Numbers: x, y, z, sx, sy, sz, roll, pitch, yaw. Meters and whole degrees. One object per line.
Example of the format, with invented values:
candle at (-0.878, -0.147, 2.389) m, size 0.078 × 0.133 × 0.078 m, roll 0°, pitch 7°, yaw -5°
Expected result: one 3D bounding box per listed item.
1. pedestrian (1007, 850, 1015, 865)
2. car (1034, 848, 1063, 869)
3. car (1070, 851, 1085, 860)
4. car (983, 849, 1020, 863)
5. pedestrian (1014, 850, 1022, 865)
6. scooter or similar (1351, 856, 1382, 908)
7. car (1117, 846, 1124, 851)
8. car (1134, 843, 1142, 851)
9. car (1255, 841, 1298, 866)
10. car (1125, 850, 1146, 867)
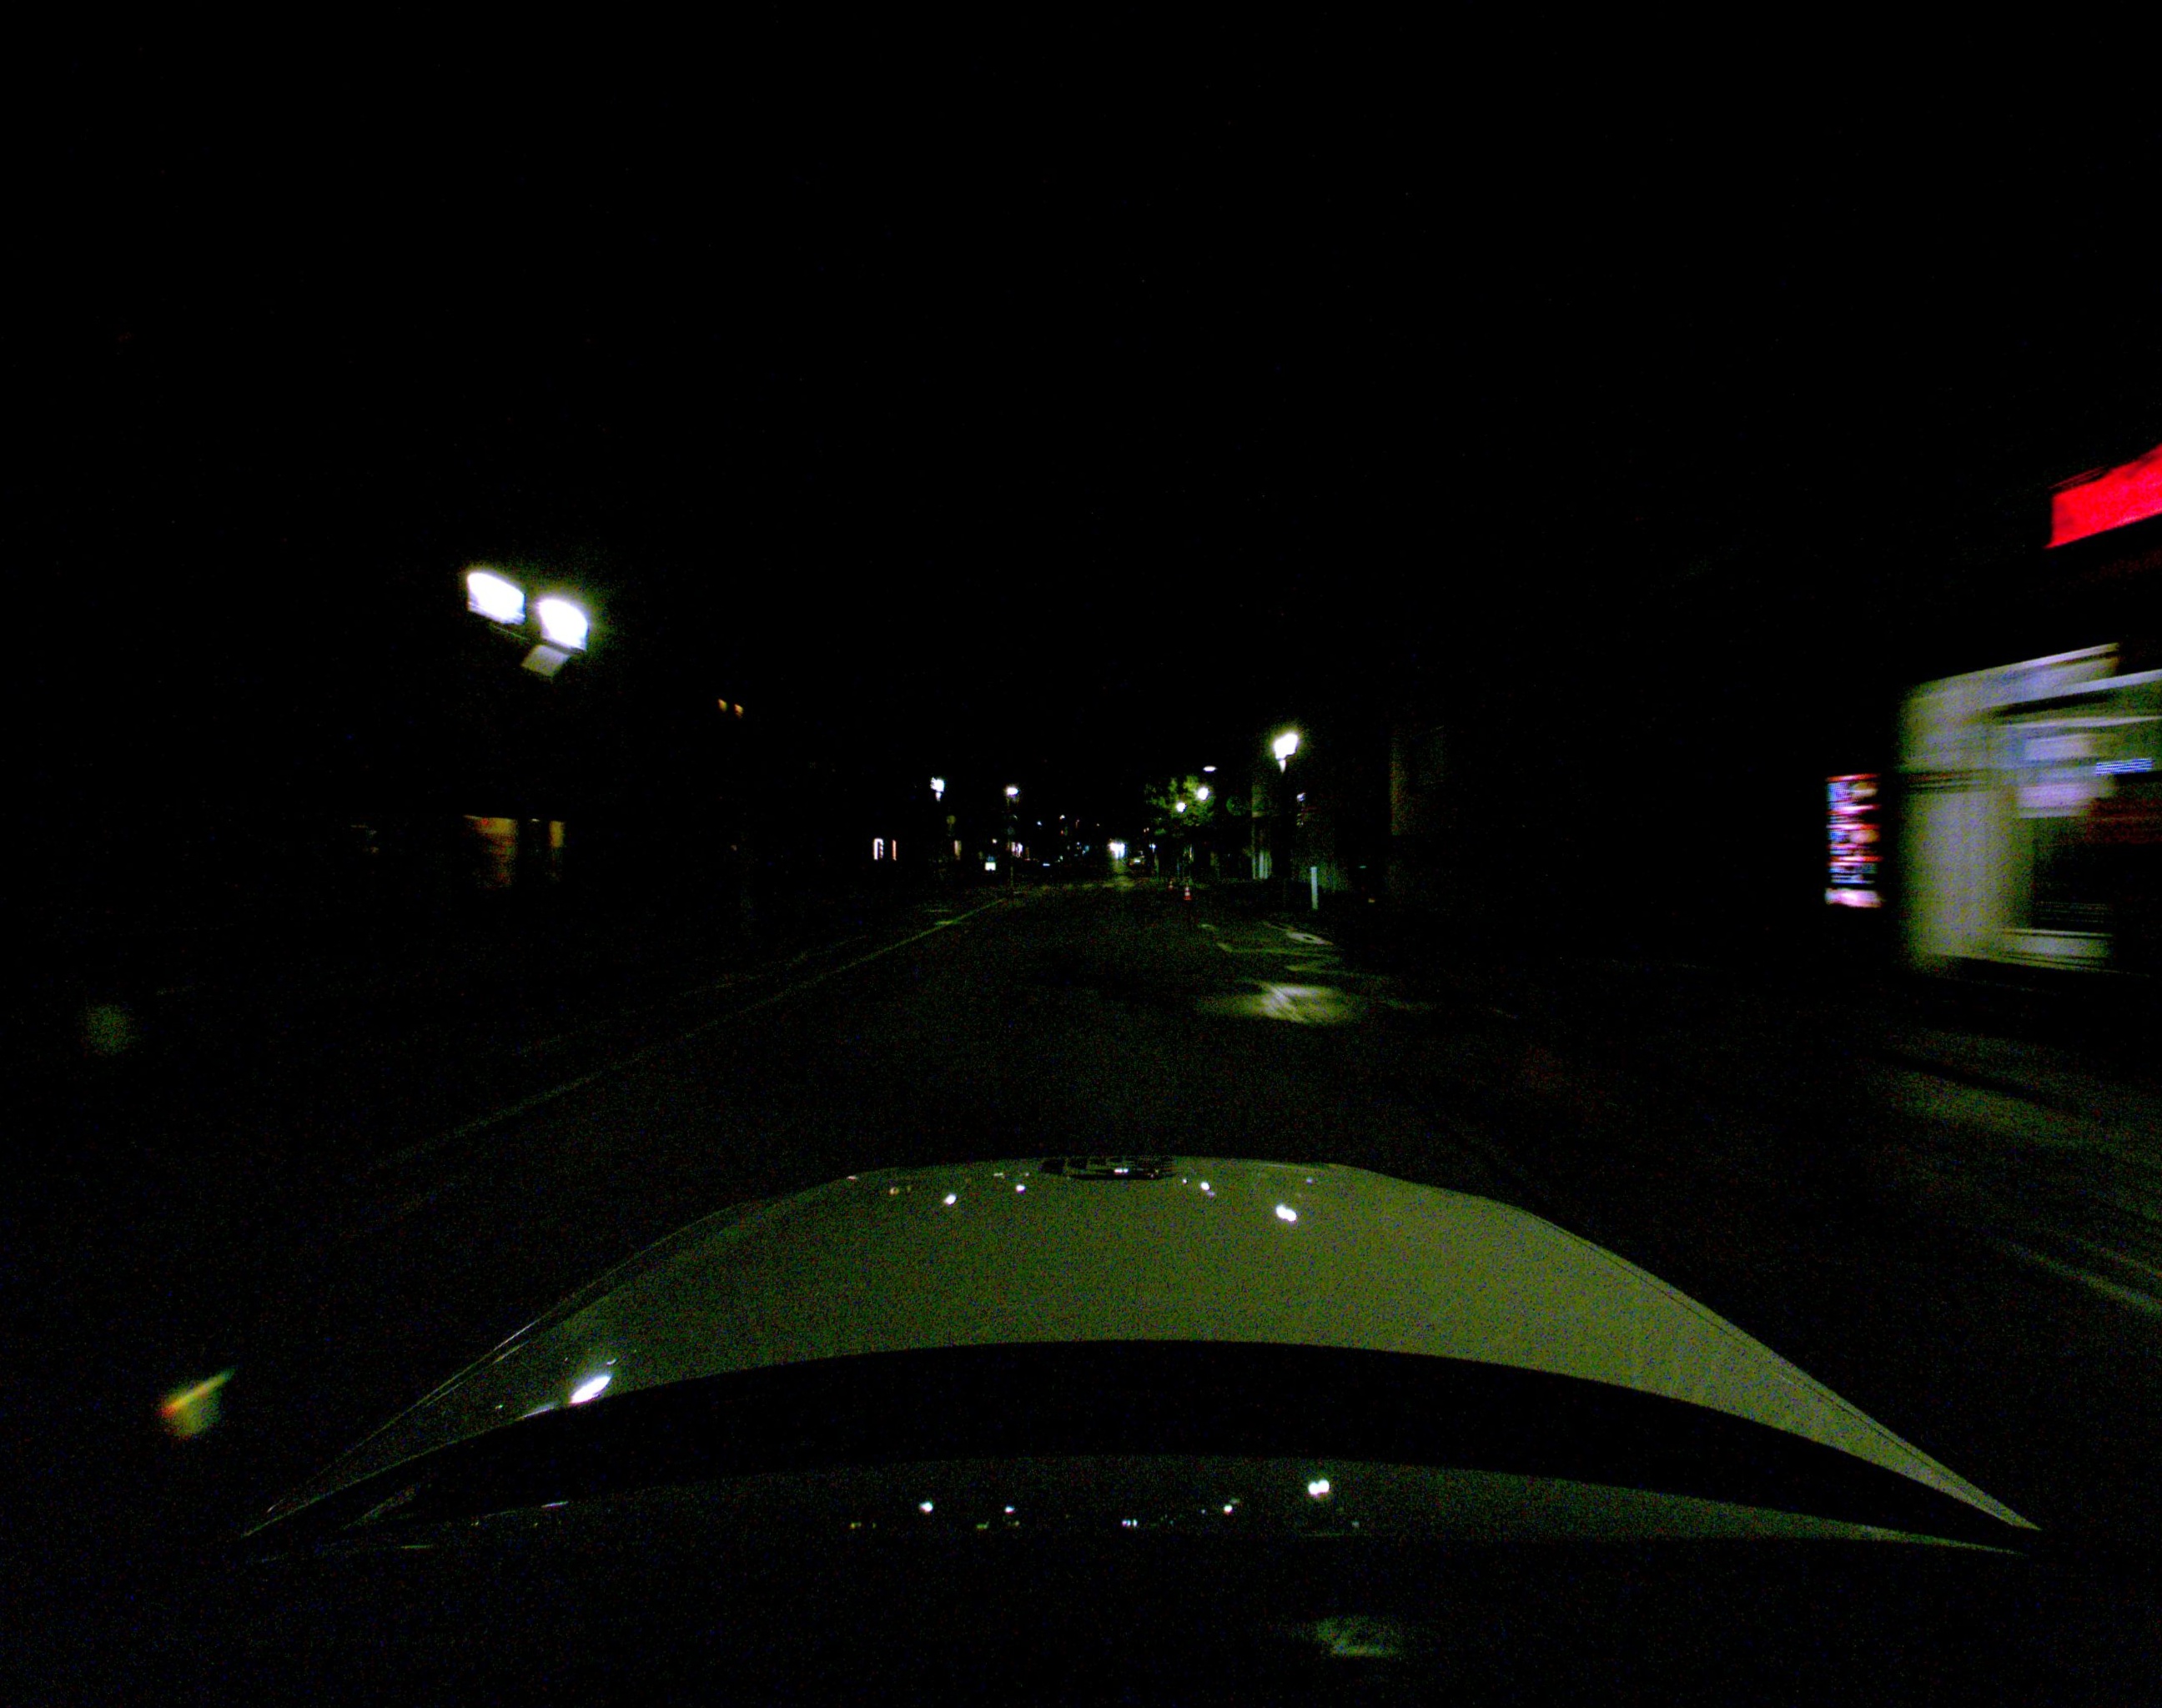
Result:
pedestrian at (-7.714, 0.404, 89.659) m, size 0.766 × 1.656 × 0.818 m, roll -1°, pitch 2°, yaw 3°
car at (-2.699, 0.359, 69.472) m, size 2.009 × 1.691 × 5.007 m, roll 1°, pitch 0°, yaw 3°
car at (-0.560, 0.216, 123.581) m, size 1.906 × 1.370 × 4.463 m, roll -1°, pitch 1°, yaw 4°
car at (-9.686, 0.187, 99.893) m, size 4.147 × 1.438 × 1.844 m, roll -4°, pitch 0°, yaw 5°
pedestrian at (-6.937, 0.402, 89.623) m, size 0.766 × 1.656 × 0.783 m, roll -1°, pitch 2°, yaw 3°
scooter or similar at (7.325, 0.704, 20.943) m, size 0.371 × 1.277 × 1.306 m, roll -1°, pitch -1°, yaw 3°
car at (10.334, -1.454, 214.630) m, size 1.715 × 1.246 × 4.242 m, roll -1°, pitch 1°, yaw 4°
car at (12.419, -1.442, 176.634) m, size 1.767 × 1.652 × 4.369 m, roll -1°, pitch 1°, yaw 4°
car at (12.904, 0.016, 53.993) m, size 1.798 × 1.460 × 4.057 m, roll -5°, pitch -1°, yaw 1°
car at (4.995, 0.386, 75.057) m, size 1.669 × 1.459 × 3.676 m, roll -1°, pitch 0°, yaw 0°
